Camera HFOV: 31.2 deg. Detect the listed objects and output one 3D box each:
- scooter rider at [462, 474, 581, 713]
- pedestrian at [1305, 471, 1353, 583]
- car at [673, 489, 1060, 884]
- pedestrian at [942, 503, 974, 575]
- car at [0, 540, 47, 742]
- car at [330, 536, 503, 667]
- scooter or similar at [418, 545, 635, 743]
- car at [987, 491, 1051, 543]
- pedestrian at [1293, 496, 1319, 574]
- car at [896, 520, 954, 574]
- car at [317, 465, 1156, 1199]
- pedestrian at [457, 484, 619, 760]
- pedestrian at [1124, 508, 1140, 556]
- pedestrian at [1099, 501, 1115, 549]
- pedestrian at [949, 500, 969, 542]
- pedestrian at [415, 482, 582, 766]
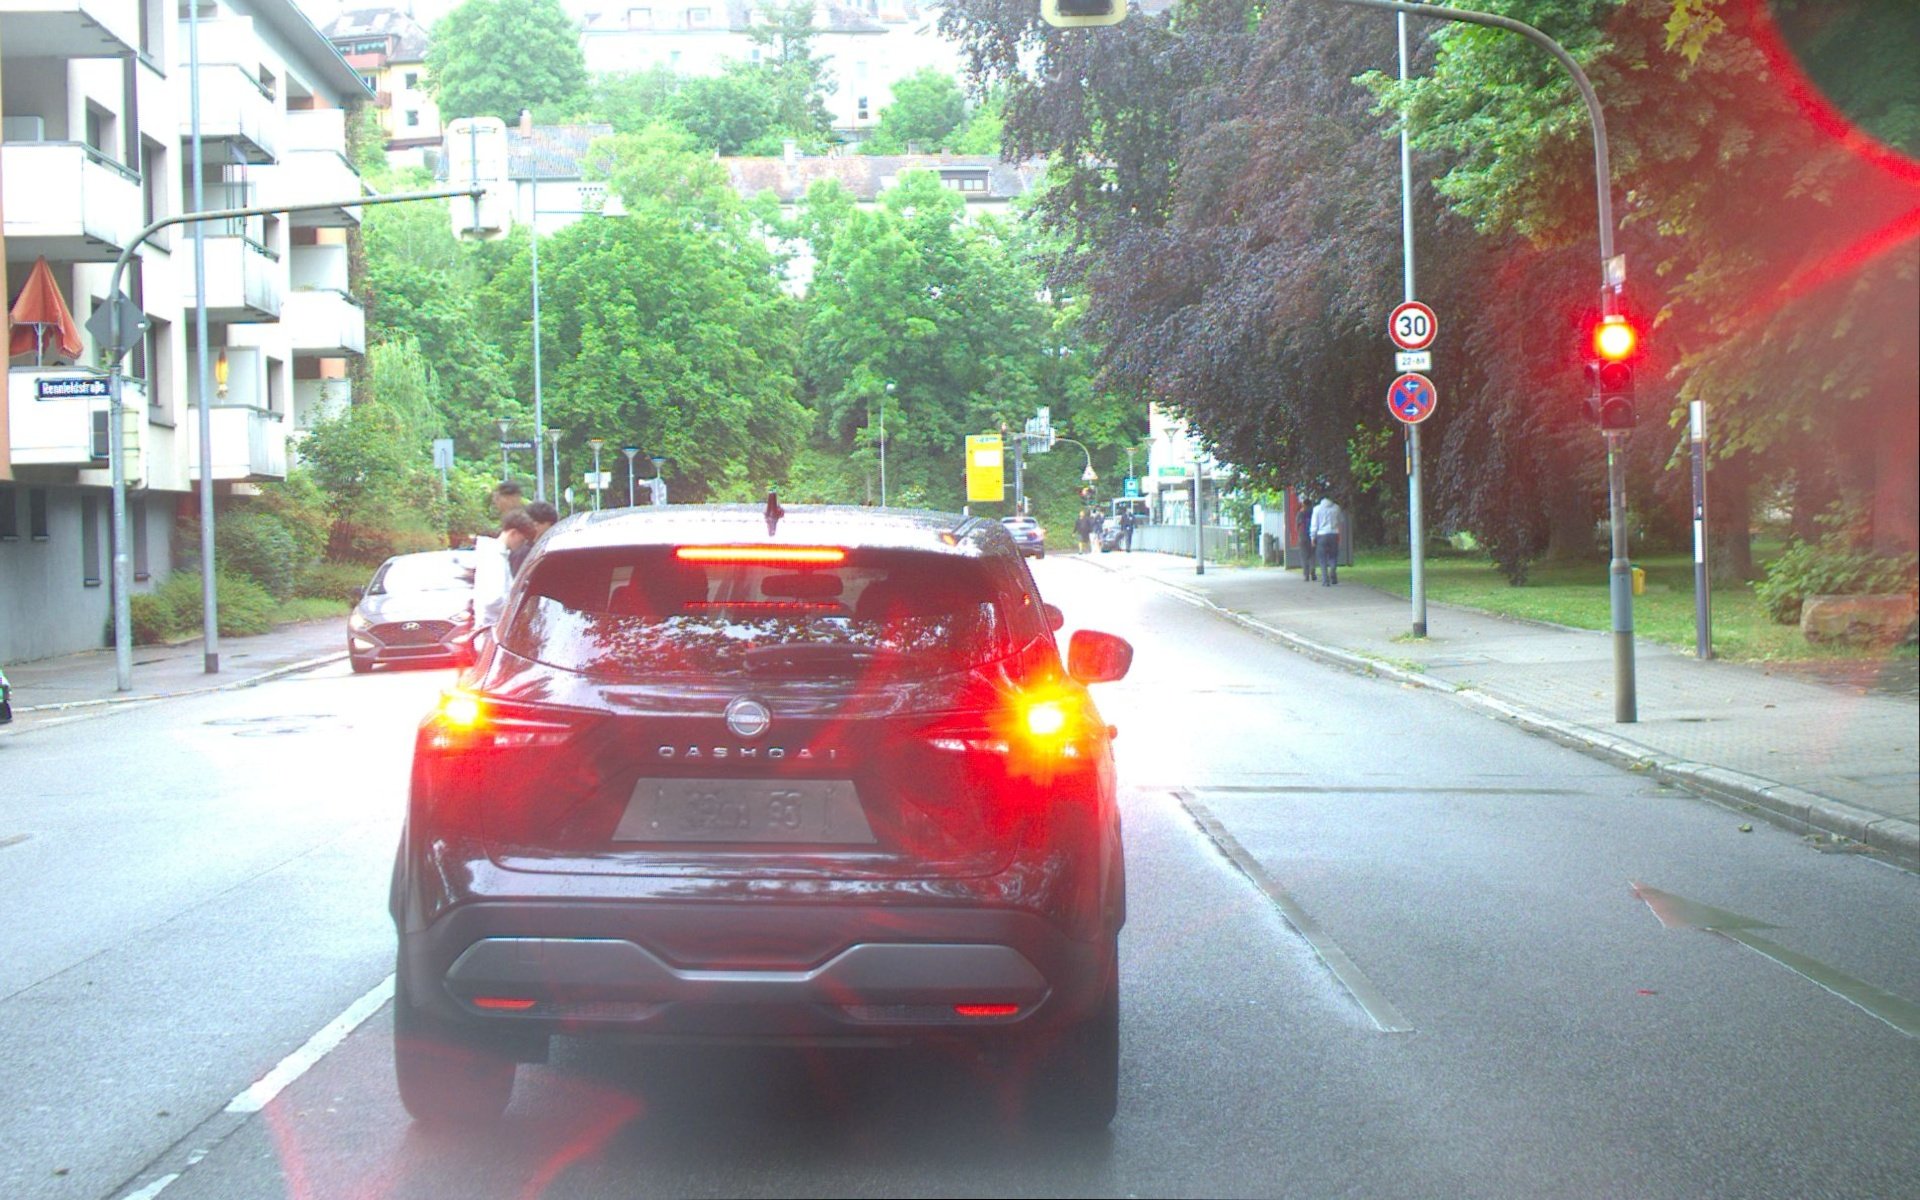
[{"bbox_3d":[-3.278,-0.046,25.739,0.643,1.760,0.735,-1,0,14],"label":"scooter rider"},{"bbox_3d":[6.726,-1.337,62.654,0.725,2.007,0.851,-2,1,0],"label":"pedestrian"},{"bbox_3d":[-0.439,0.354,17.438,1.698,1.739,3.641,-2,1,0],"label":"car"},{"bbox_3d":[-0.046,-1.553,87.587,0.618,1.795,0.509,-1,1,24],"label":"pedestrian"},{"bbox_3d":[-9.812,0.406,28.043,4.125,1.620,1.851,-2,1,7],"label":"car"},{"bbox_3d":[-6.921,-0.020,44.083,1.795,1.528,3.868,-2,1,-4],"label":"car"},{"bbox_3d":[-3.237,0.324,25.744,1.394,1.441,0.816,-1,0,12],"label":"scooter or similar"},{"bbox_3d":[2.102,-2.929,121.785,1.994,1.729,3.999,1,1,4],"label":"car"},{"bbox_3d":[6.752,-1.274,67.117,0.390,1.497,0.559,-2,1,0],"label":"pedestrian"},{"bbox_3d":[-1.024,-1.579,101.624,1.634,1.527,3.968,-2,1,0],"label":"car"},{"bbox_3d":[-0.526,0.489,9.873,1.913,1.674,4.000,0,1,0],"label":"car"},{"bbox_3d":[-2.958,0.144,24.060,1.035,1.869,0.658,-2,1,-11],"label":"pedestrian"},{"bbox_3d":[6.568,-2.590,131.287,0.508,1.795,0.619,-2,1,-1],"label":"pedestrian"},{"bbox_3d":[5.609,-2.859,131.203,0.508,1.795,0.619,-2,1,0],"label":"pedestrian"},{"bbox_3d":[-0.047,-3.170,137.952,0.509,1.667,0.658,-1,1,28],"label":"pedestrian"},{"bbox_3d":[-3.132,0.151,23.309,1.035,1.869,0.658,-2,1,-11],"label":"pedestrian"}]
